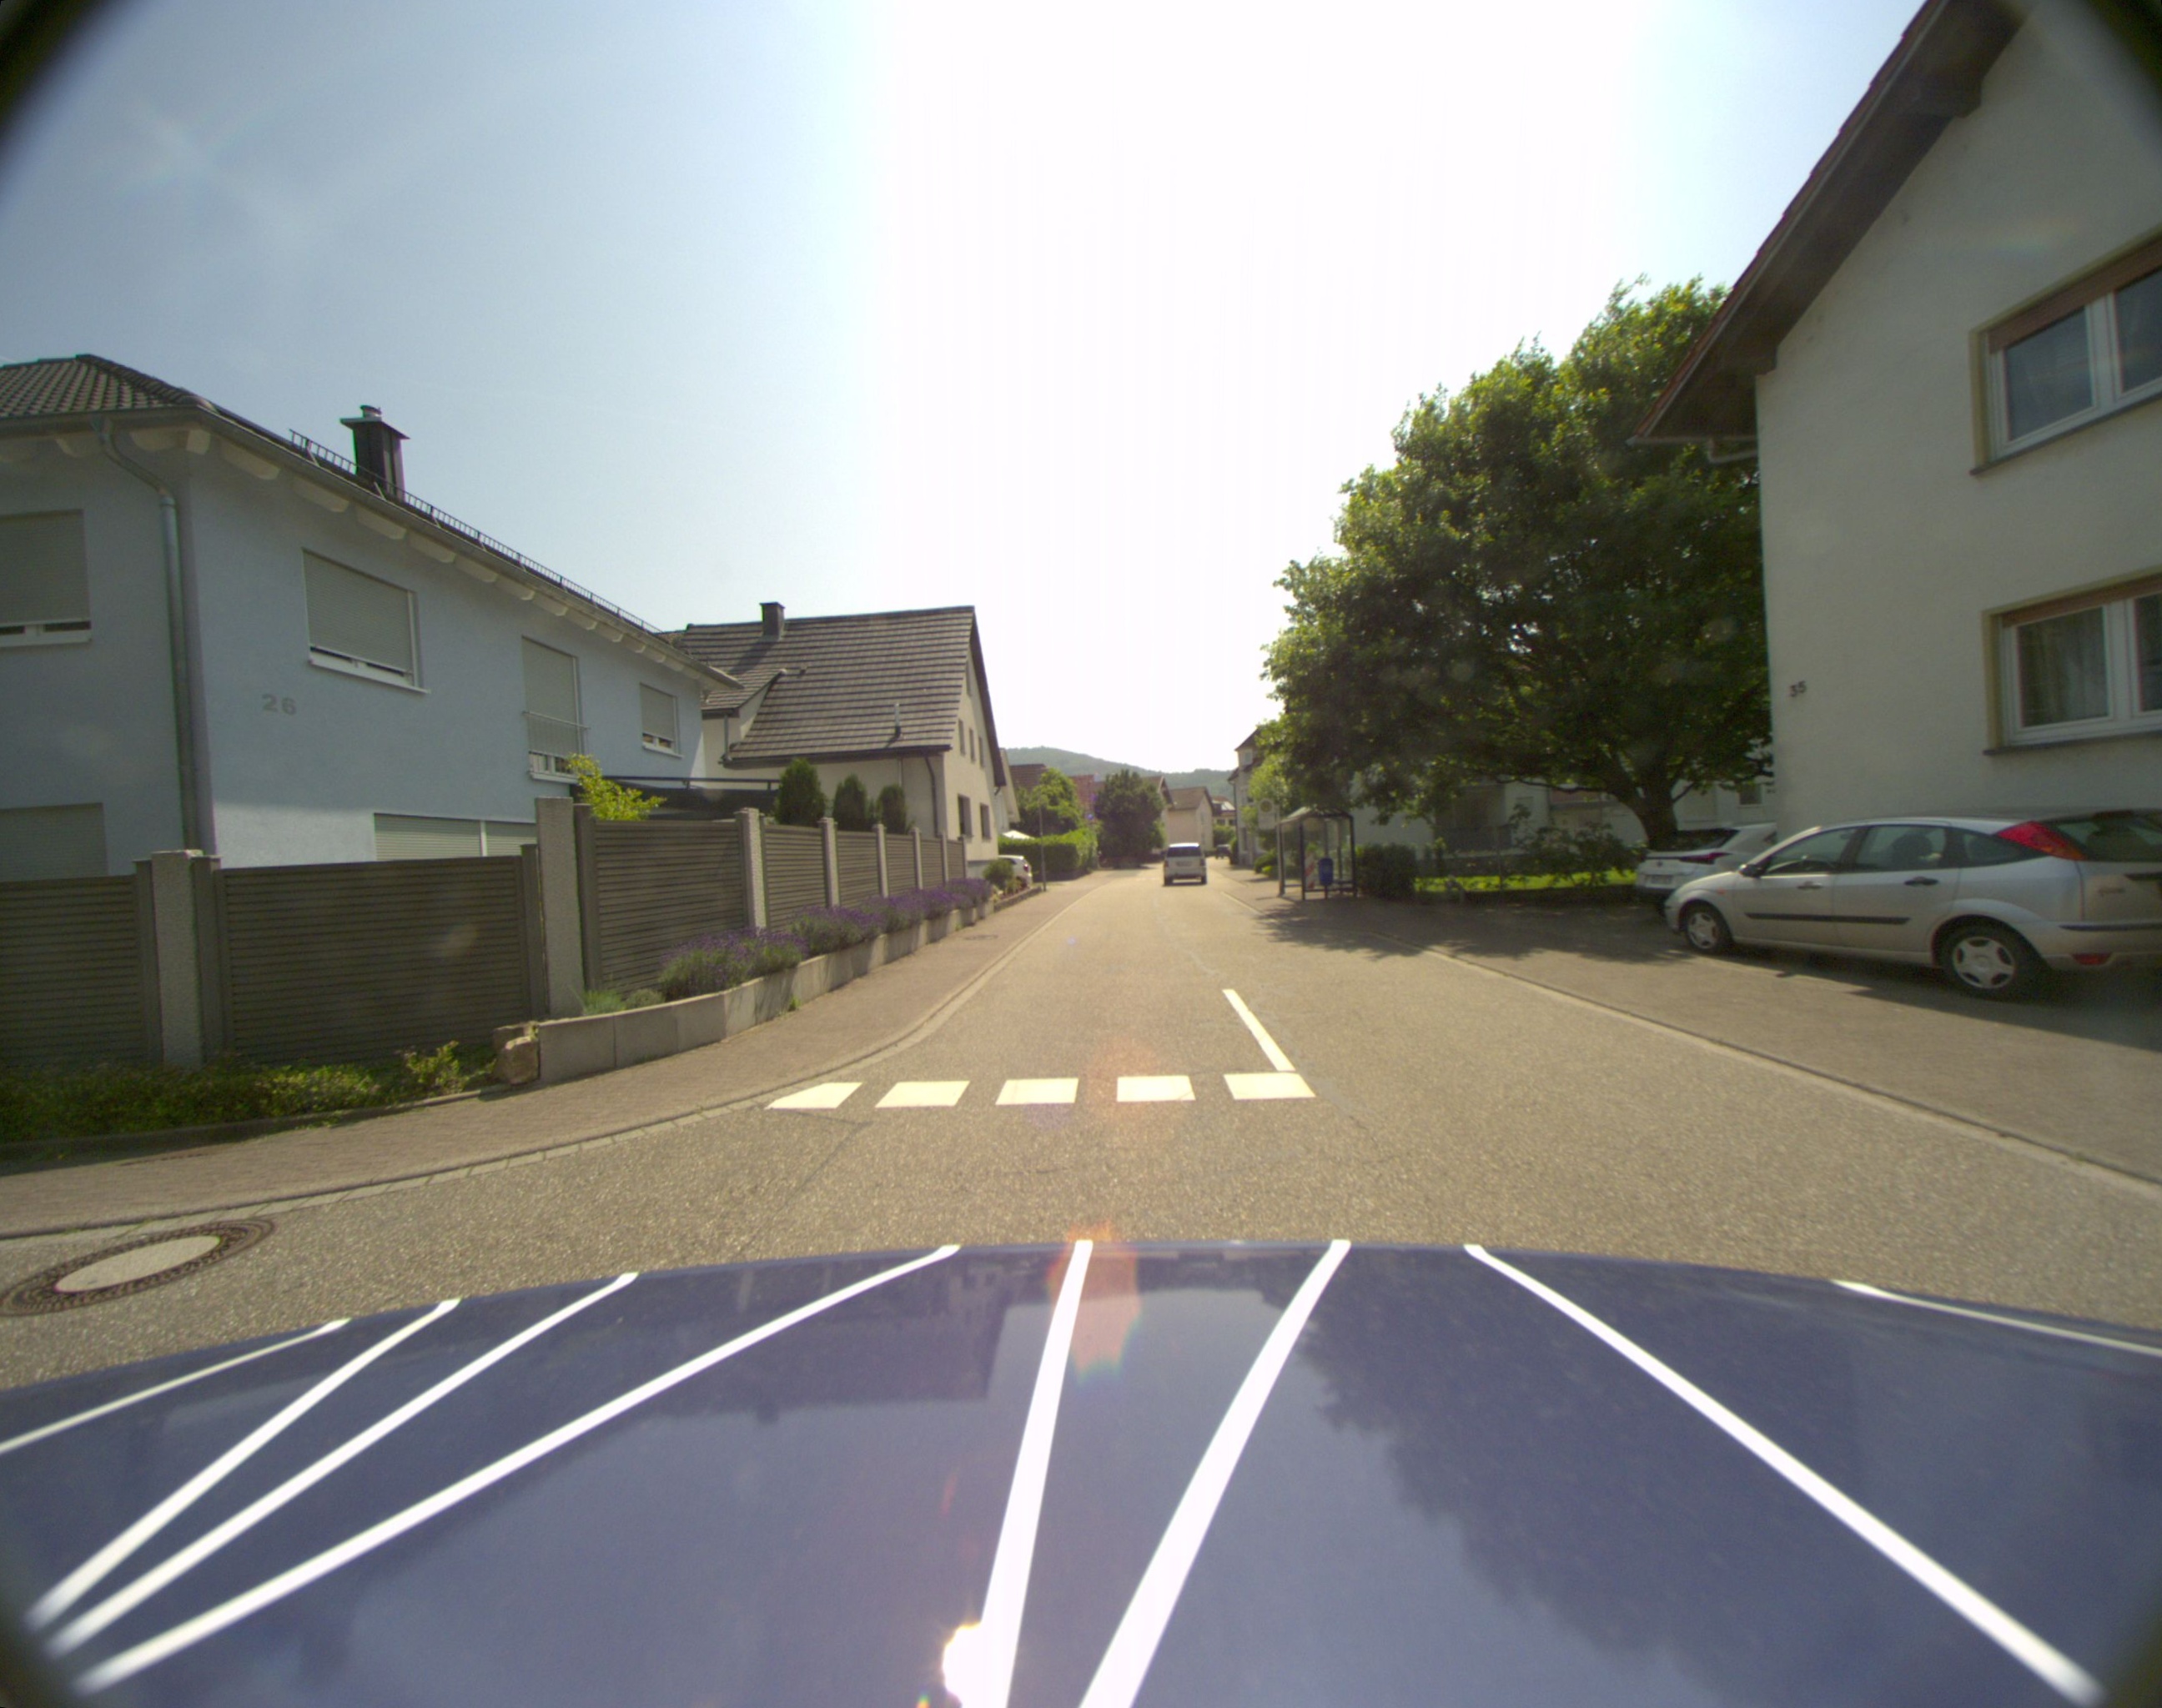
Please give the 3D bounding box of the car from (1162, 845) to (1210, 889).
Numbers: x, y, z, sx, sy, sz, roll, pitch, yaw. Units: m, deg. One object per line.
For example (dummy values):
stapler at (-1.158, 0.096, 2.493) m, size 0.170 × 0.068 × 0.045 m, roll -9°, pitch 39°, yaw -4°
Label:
car at (4.570, 0.508, 33.648) m, size 1.889 × 1.757 × 4.332 m, roll -2°, pitch 1°, yaw 6°

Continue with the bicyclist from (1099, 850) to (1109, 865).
bicyclist at (2.211, 0.339, 73.470) m, size 0.546 × 1.481 × 0.798 m, roll -2°, pitch 2°, yaw 37°

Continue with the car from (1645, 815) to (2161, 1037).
car at (7.683, 0.464, 7.100) m, size 1.783 × 1.426 × 4.056 m, roll -4°, pitch 0°, yaw 1°

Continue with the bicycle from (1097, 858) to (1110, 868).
bicycle at (2.199, 0.835, 73.431) m, size 0.520 × 0.899 × 1.315 m, roll -2°, pitch 1°, yaw 37°

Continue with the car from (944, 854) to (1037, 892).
car at (-3.767, 0.783, 32.029) m, size 3.666 × 1.466 × 1.765 m, roll -2°, pitch 0°, yaw 0°

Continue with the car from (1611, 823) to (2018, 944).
car at (10.527, 0.408, 11.168) m, size 4.169 × 1.529 × 1.774 m, roll -1°, pitch 0°, yaw 2°
